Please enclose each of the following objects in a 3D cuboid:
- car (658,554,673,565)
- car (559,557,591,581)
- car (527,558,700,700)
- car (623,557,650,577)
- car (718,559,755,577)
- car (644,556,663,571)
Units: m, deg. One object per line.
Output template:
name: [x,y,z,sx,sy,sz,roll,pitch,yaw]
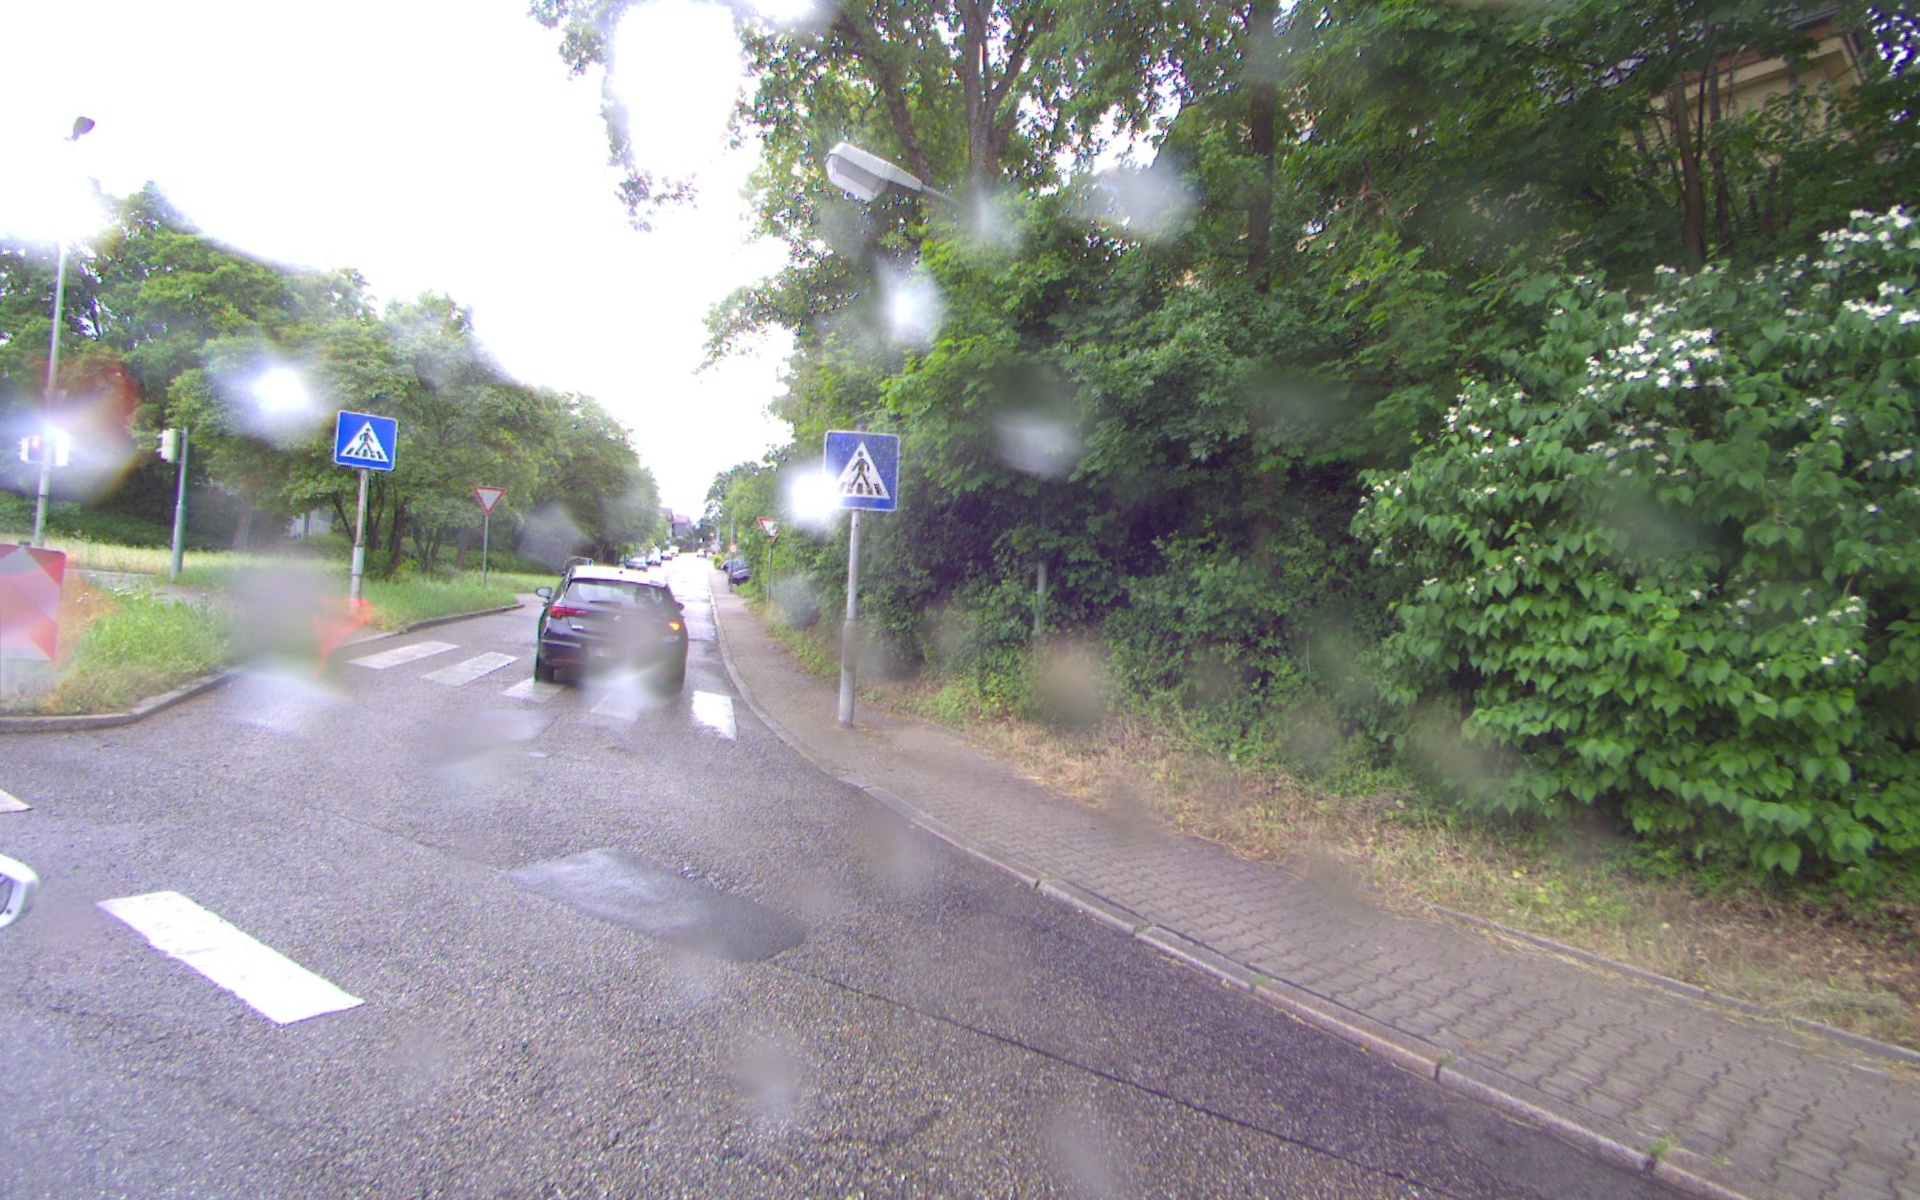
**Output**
car: [-46.765,-6.449,159.501,1.877,1.413,4.151,7,-2,-20]
car: [-25.887,-2.093,67.724,1.651,1.387,3.477,6,0,-16]
car: [-4.721,0.277,13.648,1.792,1.461,4.141,6,1,-20]
car: [-30.102,-3.030,93.720,1.874,1.467,4.285,7,-2,-13]
car: [-25.765,-3.689,116.082,3.939,1.594,1.766,5,1,-18]
car: [-37.703,-4.433,123.636,1.968,1.463,4.278,7,-2,-19]
